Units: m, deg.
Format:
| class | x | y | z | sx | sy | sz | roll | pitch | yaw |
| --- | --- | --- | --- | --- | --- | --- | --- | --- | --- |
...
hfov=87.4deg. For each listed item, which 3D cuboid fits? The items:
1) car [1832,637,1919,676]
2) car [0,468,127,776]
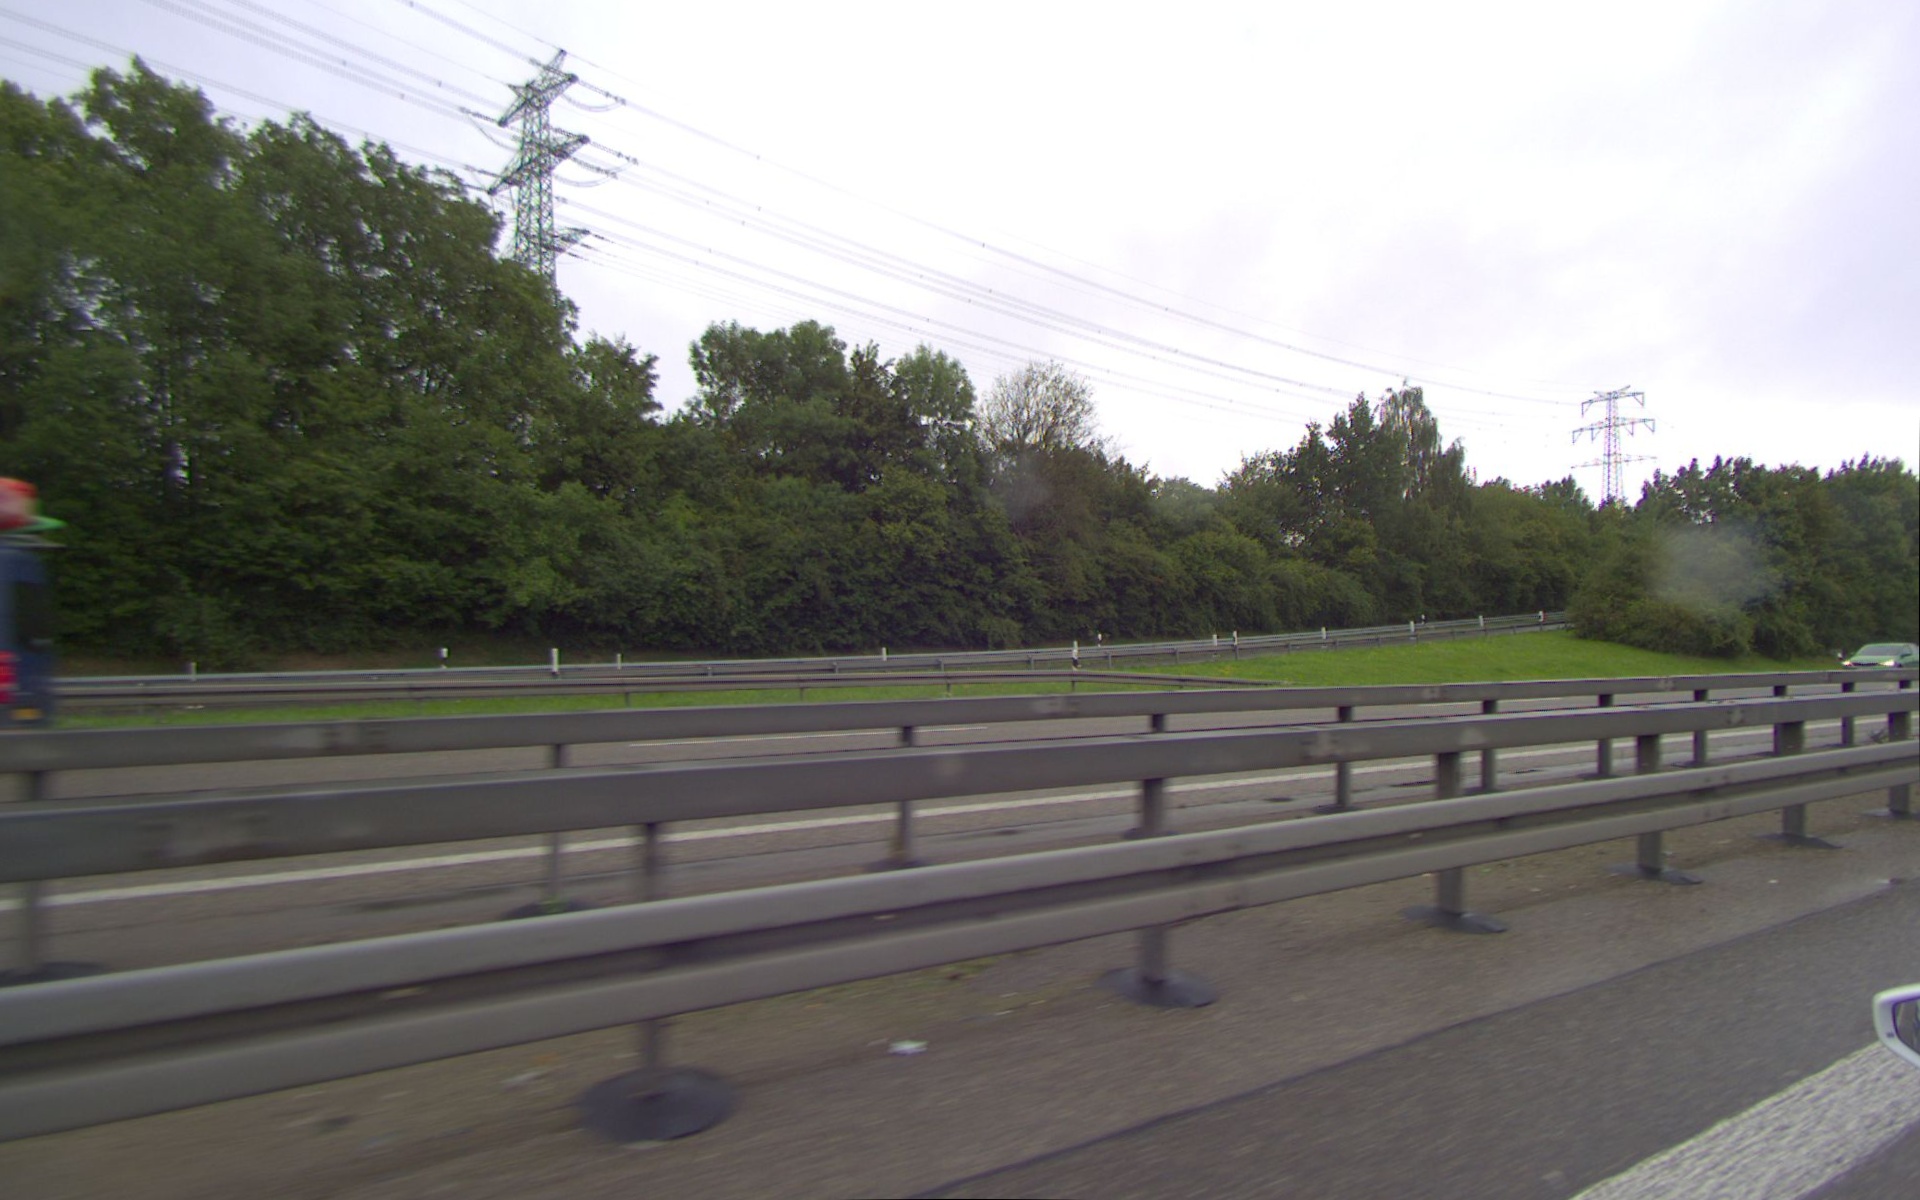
| class | x | y | z | sx | sy | sz | roll | pitch | yaw |
| --- | --- | --- | --- | --- | --- | --- | --- | --- | --- |
| car | 37.031 | 2.236 | 40.236 | 4.462 | 1.513 | 1.866 | 1 | -3 | -31 |
| car | -13.146 | 0.231 | 10.763 | 6.103 | 3.371 | 2.244 | 1 | -2 | -30 |
